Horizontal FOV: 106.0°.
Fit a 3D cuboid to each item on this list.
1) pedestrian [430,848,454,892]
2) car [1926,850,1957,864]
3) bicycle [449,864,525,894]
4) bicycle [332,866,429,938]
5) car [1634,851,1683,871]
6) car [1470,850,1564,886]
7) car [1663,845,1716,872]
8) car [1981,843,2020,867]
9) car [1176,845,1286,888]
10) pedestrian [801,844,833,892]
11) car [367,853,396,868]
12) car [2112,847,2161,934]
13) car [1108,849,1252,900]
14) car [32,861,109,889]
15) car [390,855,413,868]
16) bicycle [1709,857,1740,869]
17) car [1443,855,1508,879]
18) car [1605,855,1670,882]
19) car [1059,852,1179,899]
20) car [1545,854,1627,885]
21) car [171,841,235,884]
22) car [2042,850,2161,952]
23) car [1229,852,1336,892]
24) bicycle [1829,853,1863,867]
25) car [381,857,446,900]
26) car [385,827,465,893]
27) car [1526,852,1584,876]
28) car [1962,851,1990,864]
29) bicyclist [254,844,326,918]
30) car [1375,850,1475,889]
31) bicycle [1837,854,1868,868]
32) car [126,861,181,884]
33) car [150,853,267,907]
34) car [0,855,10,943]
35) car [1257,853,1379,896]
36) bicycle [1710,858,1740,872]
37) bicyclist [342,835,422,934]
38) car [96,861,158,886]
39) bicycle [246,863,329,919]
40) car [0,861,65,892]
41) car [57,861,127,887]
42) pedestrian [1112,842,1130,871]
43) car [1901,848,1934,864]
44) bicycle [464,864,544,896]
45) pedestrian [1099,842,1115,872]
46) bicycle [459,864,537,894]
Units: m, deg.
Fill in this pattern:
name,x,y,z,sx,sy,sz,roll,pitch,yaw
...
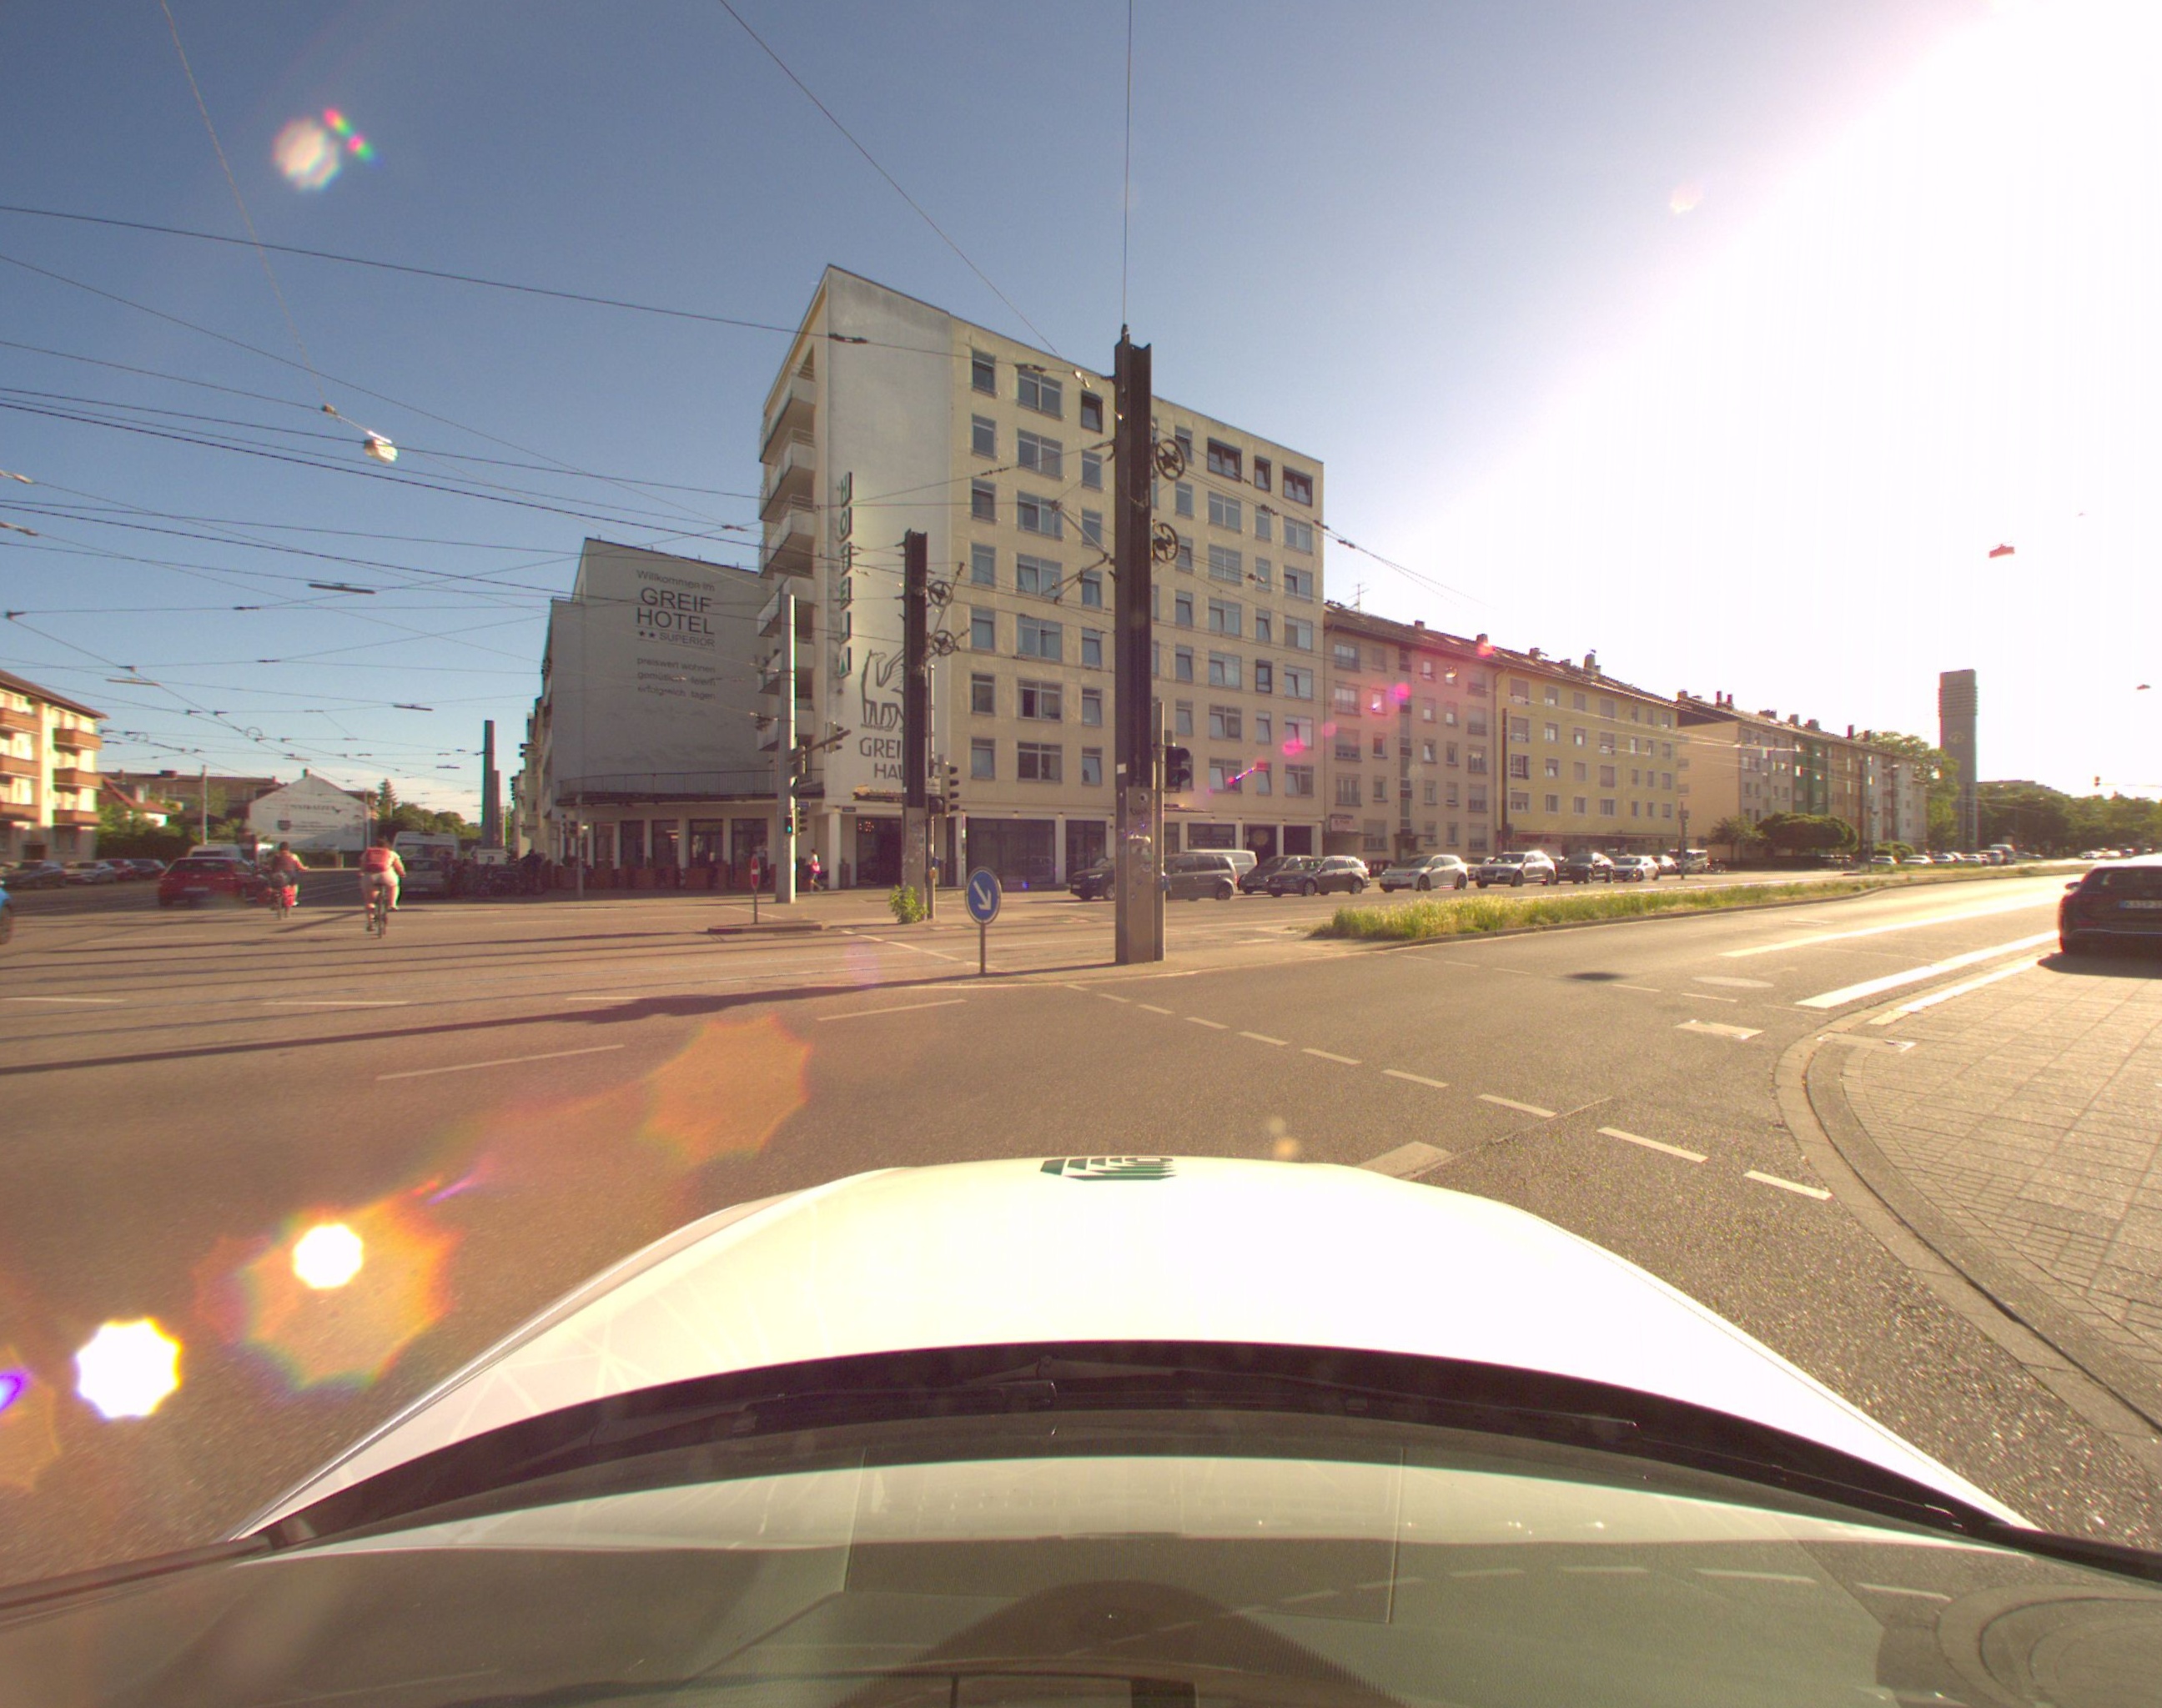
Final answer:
name,x,y,z,sx,sy,sz,roll,pitch,yaw
pedestrian,-24.469,0.608,31.194,0.617,1.654,0.664,3,-2,-37
car,102.290,0.384,96.747,4.016,1.554,1.978,2,-2,-35
bicycle,-22.248,0.915,30.557,2.269,1.001,0.847,-2,0,-37
bicycle,-12.494,0.825,14.603,0.815,1.181,2.045,2,-2,-27
car,45.618,0.572,64.283,3.928,1.488,1.753,2,-2,-31
car,20.193,0.630,37.633,4.649,1.577,1.851,0,-2,-34
car,50.899,0.387,68.079,5.326,2.106,1.989,0,-1,-35
car,131.588,0.154,116.542,6.821,3.238,2.963,2,-2,-35
car,7.237,0.569,39.096,5.346,1.868,1.929,0,2,-33
pedestrian,-9.814,0.539,30.232,0.913,1.746,0.729,3,-2,-35
car,-91.156,0.869,106.192,2.234,1.932,4.896,2,-2,-35
car,20.340,0.643,14.969,3.001,1.526,1.540,1,-2,-35
car,3.250,0.667,26.540,4.467,1.548,1.917,1,-1,-32
car,-59.472,1.237,47.999,1.884,1.576,3.955,3,-2,-37
car,-100.764,1.112,120.786,2.089,1.763,4.982,2,-2,-35
bicycle,56.122,0.764,71.054,2.055,1.022,0.808,0,-2,44
car,24.419,0.778,50.357,4.069,1.435,1.764,1,-1,-32
car,31.460,0.820,46.038,4.305,1.446,1.808,1,-1,-38
car,1.402,0.743,29.156,4.062,1.576,1.776,1,-1,-35
car,25.983,0.795,41.852,4.587,1.480,1.948,1,-1,-35
car,-66.471,0.681,61.724,2.435,3.143,3.451,3,-2,-35
car,16.662,0.649,12.513,4.760,1.398,1.870,0,-3,-34
car,8.491,0.747,34.201,4.340,1.576,1.968,1,-1,-35
bicycle,73.813,0.593,78.609,0.917,1.305,2.291,3,-2,-36
car,-23.829,0.859,29.176,1.671,1.432,3.844,3,-2,-38
car,-26.581,0.250,33.174,2.283,2.482,4.952,1,-1,-37
car,32.106,0.657,55.112,3.815,1.581,1.819,0,-1,-32
car,114.894,0.510,104.536,4.016,1.554,1.978,2,-2,-35
bicyclist,-18.464,0.628,19.037,0.947,1.673,1.068,2,-2,-33
car,14.237,0.635,33.633,4.261,1.515,1.824,1,-1,-35
bicycle,75.380,0.663,79.550,0.901,1.324,2.110,3,-2,-39
car,-68.851,1.357,60.504,1.884,1.576,3.955,3,-2,-37
car,-27.356,0.786,25.664,1.798,1.522,3.720,3,-1,-37
car,-17.644,0.724,11.898,1.751,1.452,3.618,1,-1,-42
car,8.857,0.761,30.317,4.556,1.491,1.806,1,-1,-32
bicycle,55.040,0.949,69.605,1.945,1.206,0.701,0,-2,30
bicyclist,-12.450,0.536,14.537,0.815,1.692,0.927,2,-2,-27
car,-65.065,1.312,55.615,1.884,1.576,3.955,3,-2,-37
bicycle,-18.412,0.839,18.965,0.947,1.224,2.073,2,-2,-33
car,-56.847,1.182,43.743,1.884,1.576,3.955,3,-2,-37
car,-62.191,1.262,51.295,1.884,1.576,3.955,3,-2,-37
pedestrian,1.887,0.124,38.333,0.676,1.376,0.532,0,-2,35
car,93.612,0.219,91.095,4.016,1.581,1.978,2,-2,-35
bicycle,-20.397,0.902,28.843,2.269,1.001,0.847,-2,0,-37
pedestrian,1.242,0.142,38.845,0.494,1.376,0.606,0,-3,43
bicycle,-21.345,0.898,29.845,2.269,1.001,0.847,-2,0,-37
